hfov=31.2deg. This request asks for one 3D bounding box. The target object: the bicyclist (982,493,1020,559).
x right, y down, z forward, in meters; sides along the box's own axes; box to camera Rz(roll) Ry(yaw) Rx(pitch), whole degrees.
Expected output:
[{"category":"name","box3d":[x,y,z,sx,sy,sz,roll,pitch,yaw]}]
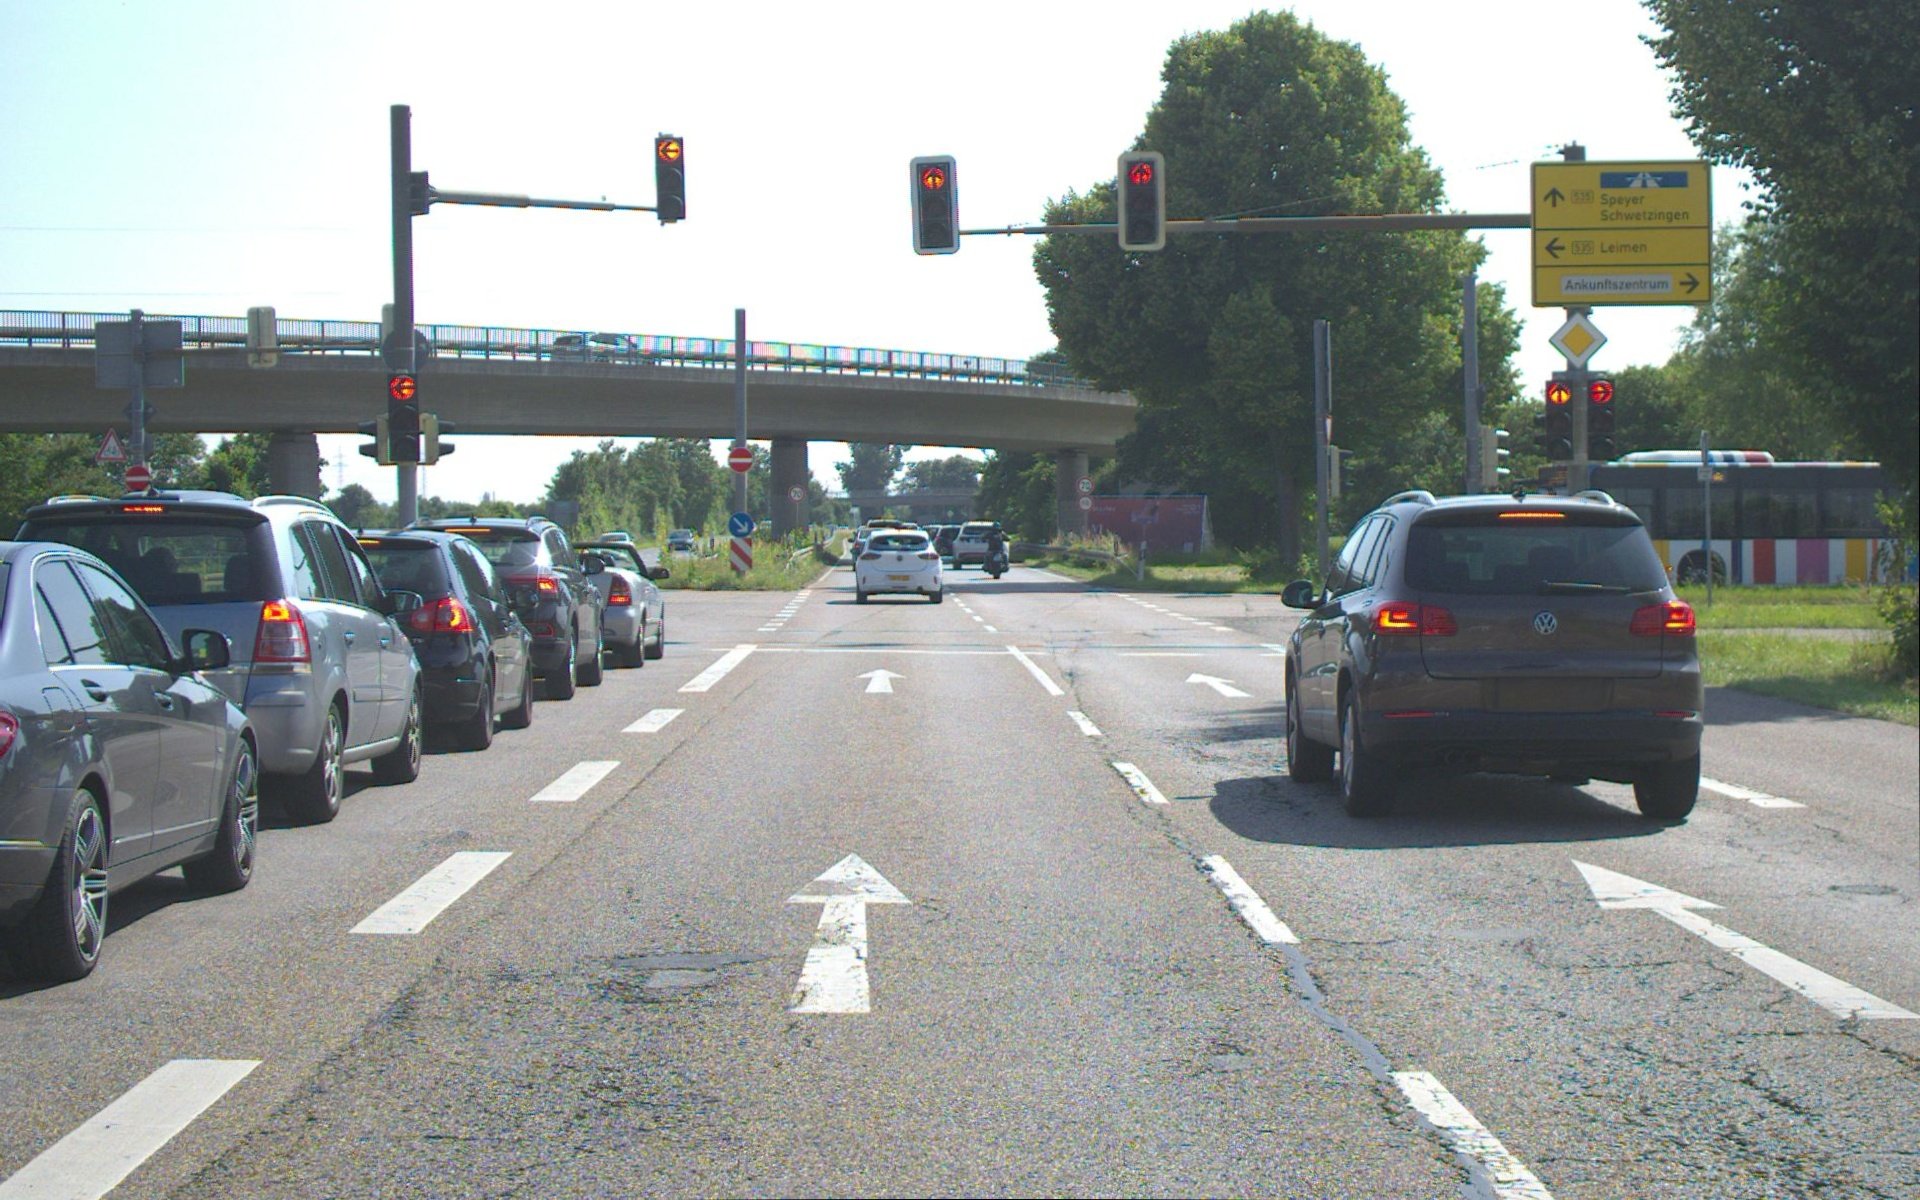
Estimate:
[{"category":"bicyclist","box3d":[1.168,-2.128,98.602,1.007,1.880,1.327,-1,1,-1]}]

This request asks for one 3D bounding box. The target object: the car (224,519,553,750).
[{"category":"car","box3d":[-3.897,0.172,24.050,1.666,1.469,4.098,0,1,-1]}]

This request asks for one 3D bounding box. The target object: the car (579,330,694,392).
[{"category":"car","box3d":[-11.057,-8.176,117.745,1.997,1.831,3.993,2,0,29]}]

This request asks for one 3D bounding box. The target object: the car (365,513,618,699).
[{"category":"car","box3d":[-4.085,-0.002,30.536,1.728,1.542,4.098,0,1,-1]}]

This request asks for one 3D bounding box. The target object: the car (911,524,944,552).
[{"category":"car","box3d":[-2.055,-3.880,215.340,1.993,1.650,4.000,2,0,-1]}]

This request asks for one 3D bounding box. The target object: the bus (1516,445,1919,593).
[{"category":"bus","box3d":[17.817,-1.751,72.207,11.935,2.867,2.943,-1,1,-16]}]

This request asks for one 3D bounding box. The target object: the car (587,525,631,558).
[{"category":"car","box3d":[-17.730,-2.958,173.922,1.882,1.510,4.149,-3,1,-2]}]

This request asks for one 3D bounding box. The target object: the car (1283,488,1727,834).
[{"category":"car","box3d":[2.851,0.259,18.829,1.755,1.650,4.146,1,1,0]}]

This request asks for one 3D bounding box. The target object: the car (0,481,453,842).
[{"category":"car","box3d":[-3.862,0.229,18.178,1.741,1.666,4.357,-1,1,-1]}]

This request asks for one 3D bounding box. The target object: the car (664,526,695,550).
[{"category":"car","box3d":[-17.565,-3.896,215.659,1.614,1.437,3.776,-3,1,-1]}]

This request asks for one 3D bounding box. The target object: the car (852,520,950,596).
[{"category":"car","box3d":[-1.158,-0.863,68.713,1.851,1.456,4.000,1,1,0]}]

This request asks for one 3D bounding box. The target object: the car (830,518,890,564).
[{"category":"car","box3d":[-3.361,-2.001,115.857,1.873,1.487,4.000,0,1,0]}]

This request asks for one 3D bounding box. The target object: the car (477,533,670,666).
[{"category":"car","box3d":[-4.120,-0.042,37.204,1.673,1.330,4.098,0,1,-1]}]

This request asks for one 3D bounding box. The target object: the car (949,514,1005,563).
[{"category":"car","box3d":[0.596,-2.159,119.625,1.873,1.634,4.000,1,1,0]}]

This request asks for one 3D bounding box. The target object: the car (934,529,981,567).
[{"category":"car","box3d":[-0.128,-2.343,156.258,1.993,1.626,4.000,2,0,-1]}]

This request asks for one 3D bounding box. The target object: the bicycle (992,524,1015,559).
[{"category":"bicycle","box3d":[1.241,-1.687,98.331,0.600,0.979,2.361,-1,1,-1]}]

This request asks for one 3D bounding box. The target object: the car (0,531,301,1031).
[{"category":"car","box3d":[-3.595,0.479,12.173,1.714,1.405,4.355,1,1,-1]}]
